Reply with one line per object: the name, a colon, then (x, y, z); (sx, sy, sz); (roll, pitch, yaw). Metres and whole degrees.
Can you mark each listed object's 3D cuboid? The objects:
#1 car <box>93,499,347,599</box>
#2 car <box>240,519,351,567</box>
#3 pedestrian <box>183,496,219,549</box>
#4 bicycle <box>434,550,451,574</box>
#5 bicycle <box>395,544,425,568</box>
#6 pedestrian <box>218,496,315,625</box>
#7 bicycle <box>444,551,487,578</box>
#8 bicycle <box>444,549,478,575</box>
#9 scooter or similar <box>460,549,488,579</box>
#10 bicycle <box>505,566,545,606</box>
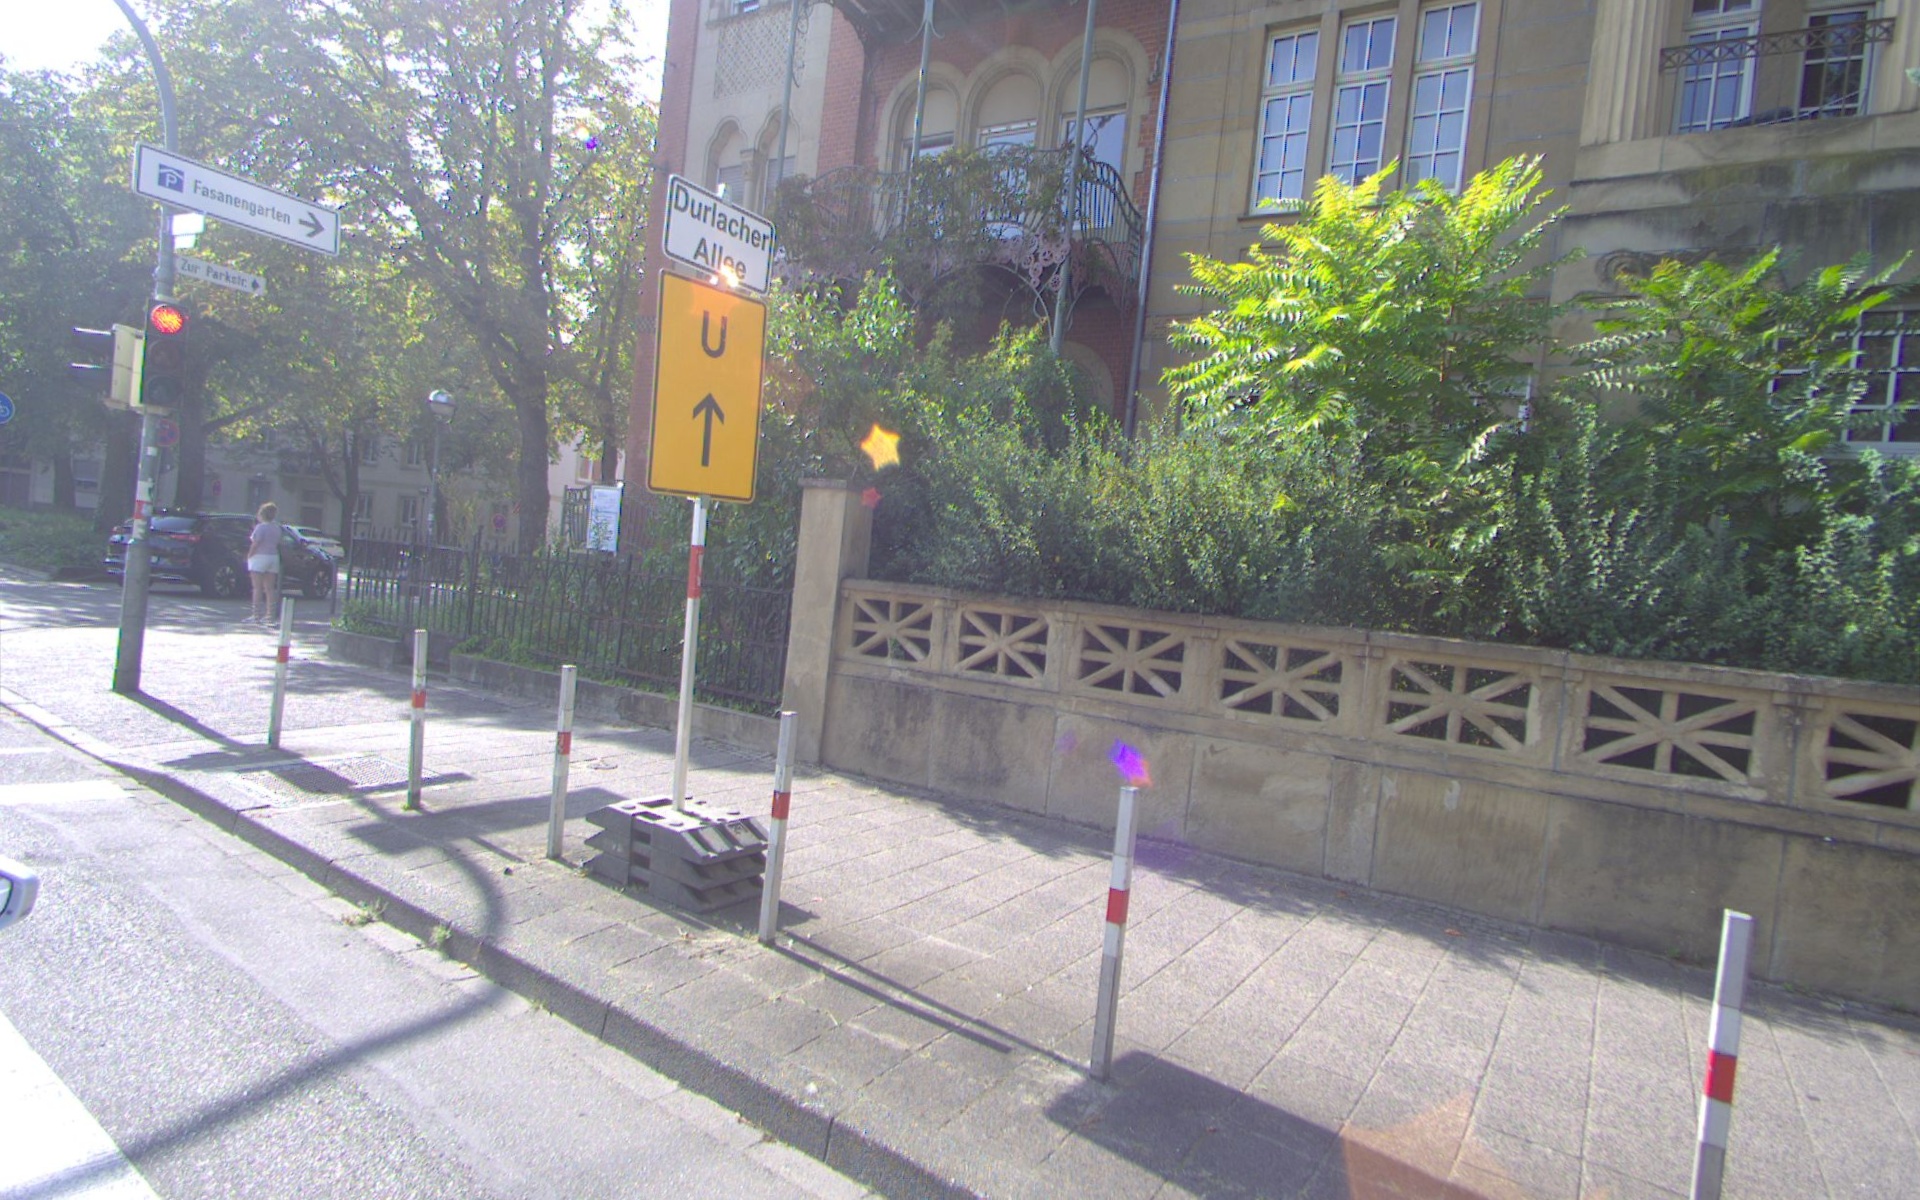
car: (-14.069, -0.885, 19.485); (1.582, 1.534, 4.227); (7, 1, 2)
car: (-27.437, -2.353, 41.513); (4.070, 1.447, 1.757); (7, 1, 22)
pedestrian: (-27.133, -2.756, 35.956); (0.887, 1.762, 0.767); (5, 1, -40)
bicycle: (-22.753, -1.666, 44.266); (0.420, 0.990, 1.548); (6, 1, -21)
bicycle: (-26.105, -2.096, 47.751); (1.529, 0.990, 0.425); (7, 1, 28)
pedestrian: (-10.024, -0.552, 14.556); (0.757, 1.753, 0.752); (6, 1, 22)
bicycle: (-21.553, -1.549, 43.859); (1.546, 0.990, 0.420); (6, 1, -44)
bicycle: (-22.365, -1.686, 45.121); (0.417, 1.052, 1.556); (6, 1, 12)
scooter or similar: (-20.922, -1.560, 43.316); (1.059, 1.214, 0.456); (3, 4, -27)
bicycle: (-11.468, -0.376, 26.568); (0.418, 0.990, 1.767); (6, 1, -8)
